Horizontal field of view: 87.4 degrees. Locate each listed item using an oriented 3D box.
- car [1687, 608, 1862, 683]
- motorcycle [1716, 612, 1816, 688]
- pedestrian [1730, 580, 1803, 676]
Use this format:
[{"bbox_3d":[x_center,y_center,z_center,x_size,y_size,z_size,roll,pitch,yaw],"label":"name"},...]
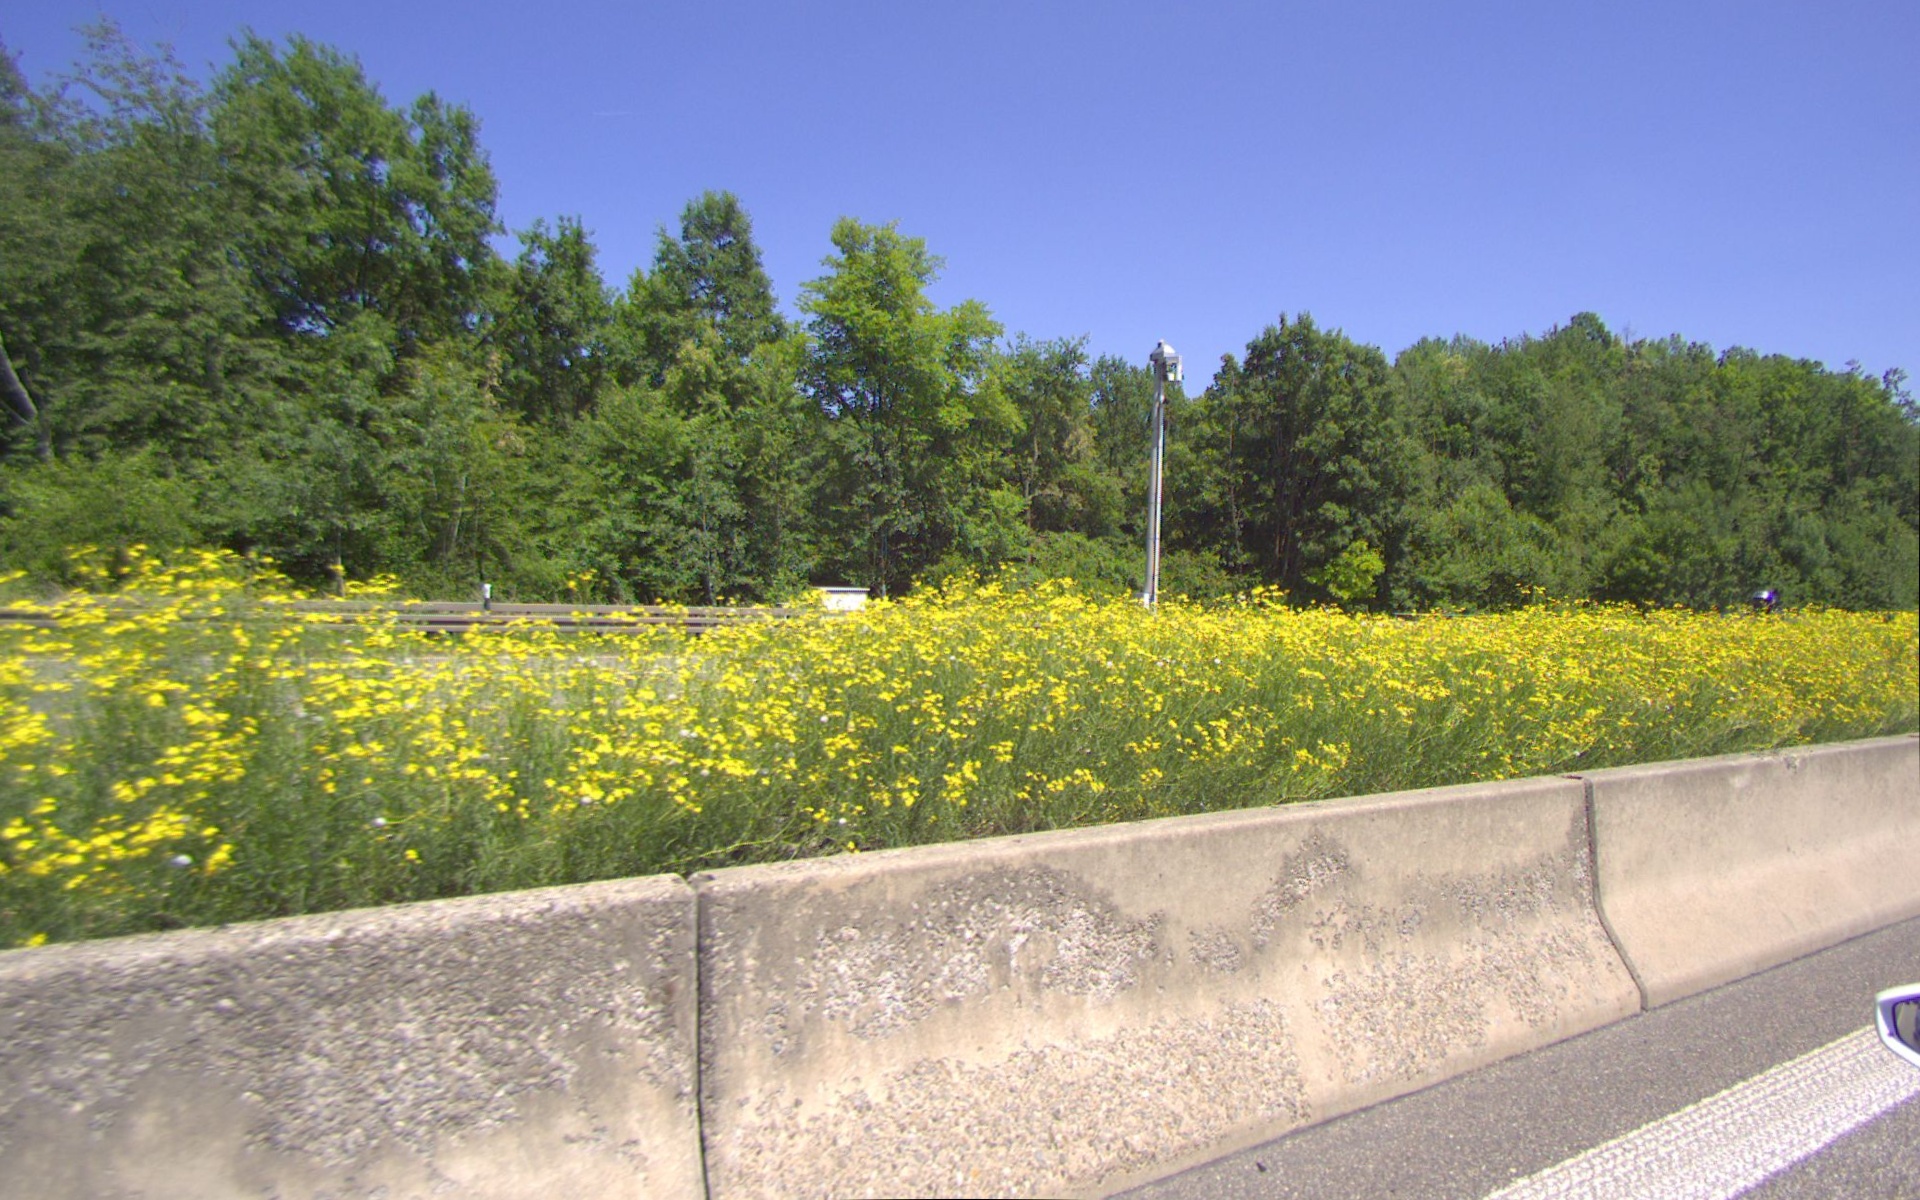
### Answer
[{"bbox_3d":[18.426,0.991,22.704,3.954,1.509,1.795,1,1,-31],"label":"car"},{"bbox_3d":[11.964,0.729,14.913,1.458,1.055,0.663,1,1,-30],"label":"motorcycle"},{"bbox_3d":[11.949,0.397,14.888,0.525,1.383,0.659,1,1,-30],"label":"pedestrian"}]
